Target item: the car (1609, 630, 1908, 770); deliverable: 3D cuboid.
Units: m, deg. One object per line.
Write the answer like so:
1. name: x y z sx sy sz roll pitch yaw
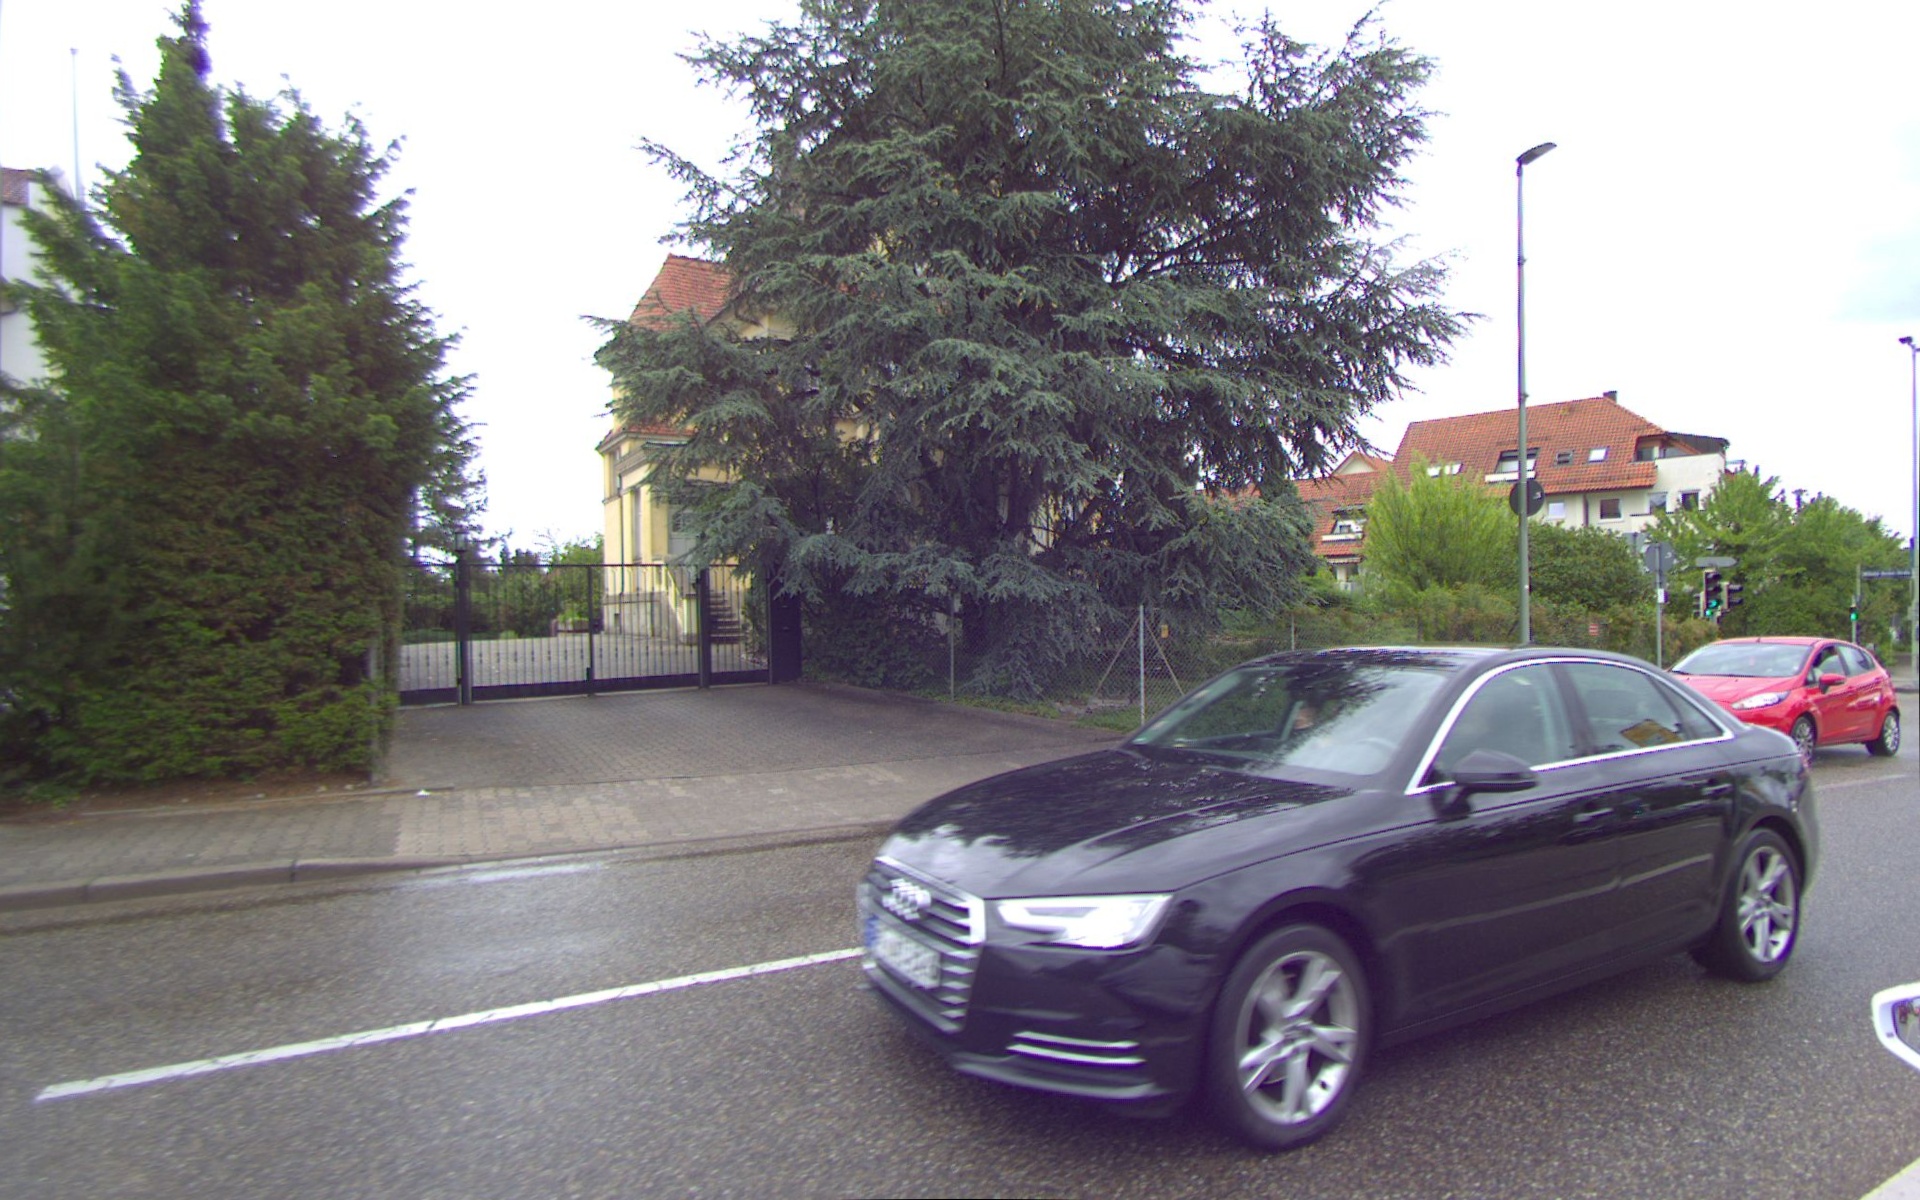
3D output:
1. car: 9.809 1.131 12.296 3.658 1.475 1.625 1 -3 -30

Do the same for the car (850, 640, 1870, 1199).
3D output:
1. car: 1.826 0.894 4.348 4.212 1.422 1.885 1 -2 -29
